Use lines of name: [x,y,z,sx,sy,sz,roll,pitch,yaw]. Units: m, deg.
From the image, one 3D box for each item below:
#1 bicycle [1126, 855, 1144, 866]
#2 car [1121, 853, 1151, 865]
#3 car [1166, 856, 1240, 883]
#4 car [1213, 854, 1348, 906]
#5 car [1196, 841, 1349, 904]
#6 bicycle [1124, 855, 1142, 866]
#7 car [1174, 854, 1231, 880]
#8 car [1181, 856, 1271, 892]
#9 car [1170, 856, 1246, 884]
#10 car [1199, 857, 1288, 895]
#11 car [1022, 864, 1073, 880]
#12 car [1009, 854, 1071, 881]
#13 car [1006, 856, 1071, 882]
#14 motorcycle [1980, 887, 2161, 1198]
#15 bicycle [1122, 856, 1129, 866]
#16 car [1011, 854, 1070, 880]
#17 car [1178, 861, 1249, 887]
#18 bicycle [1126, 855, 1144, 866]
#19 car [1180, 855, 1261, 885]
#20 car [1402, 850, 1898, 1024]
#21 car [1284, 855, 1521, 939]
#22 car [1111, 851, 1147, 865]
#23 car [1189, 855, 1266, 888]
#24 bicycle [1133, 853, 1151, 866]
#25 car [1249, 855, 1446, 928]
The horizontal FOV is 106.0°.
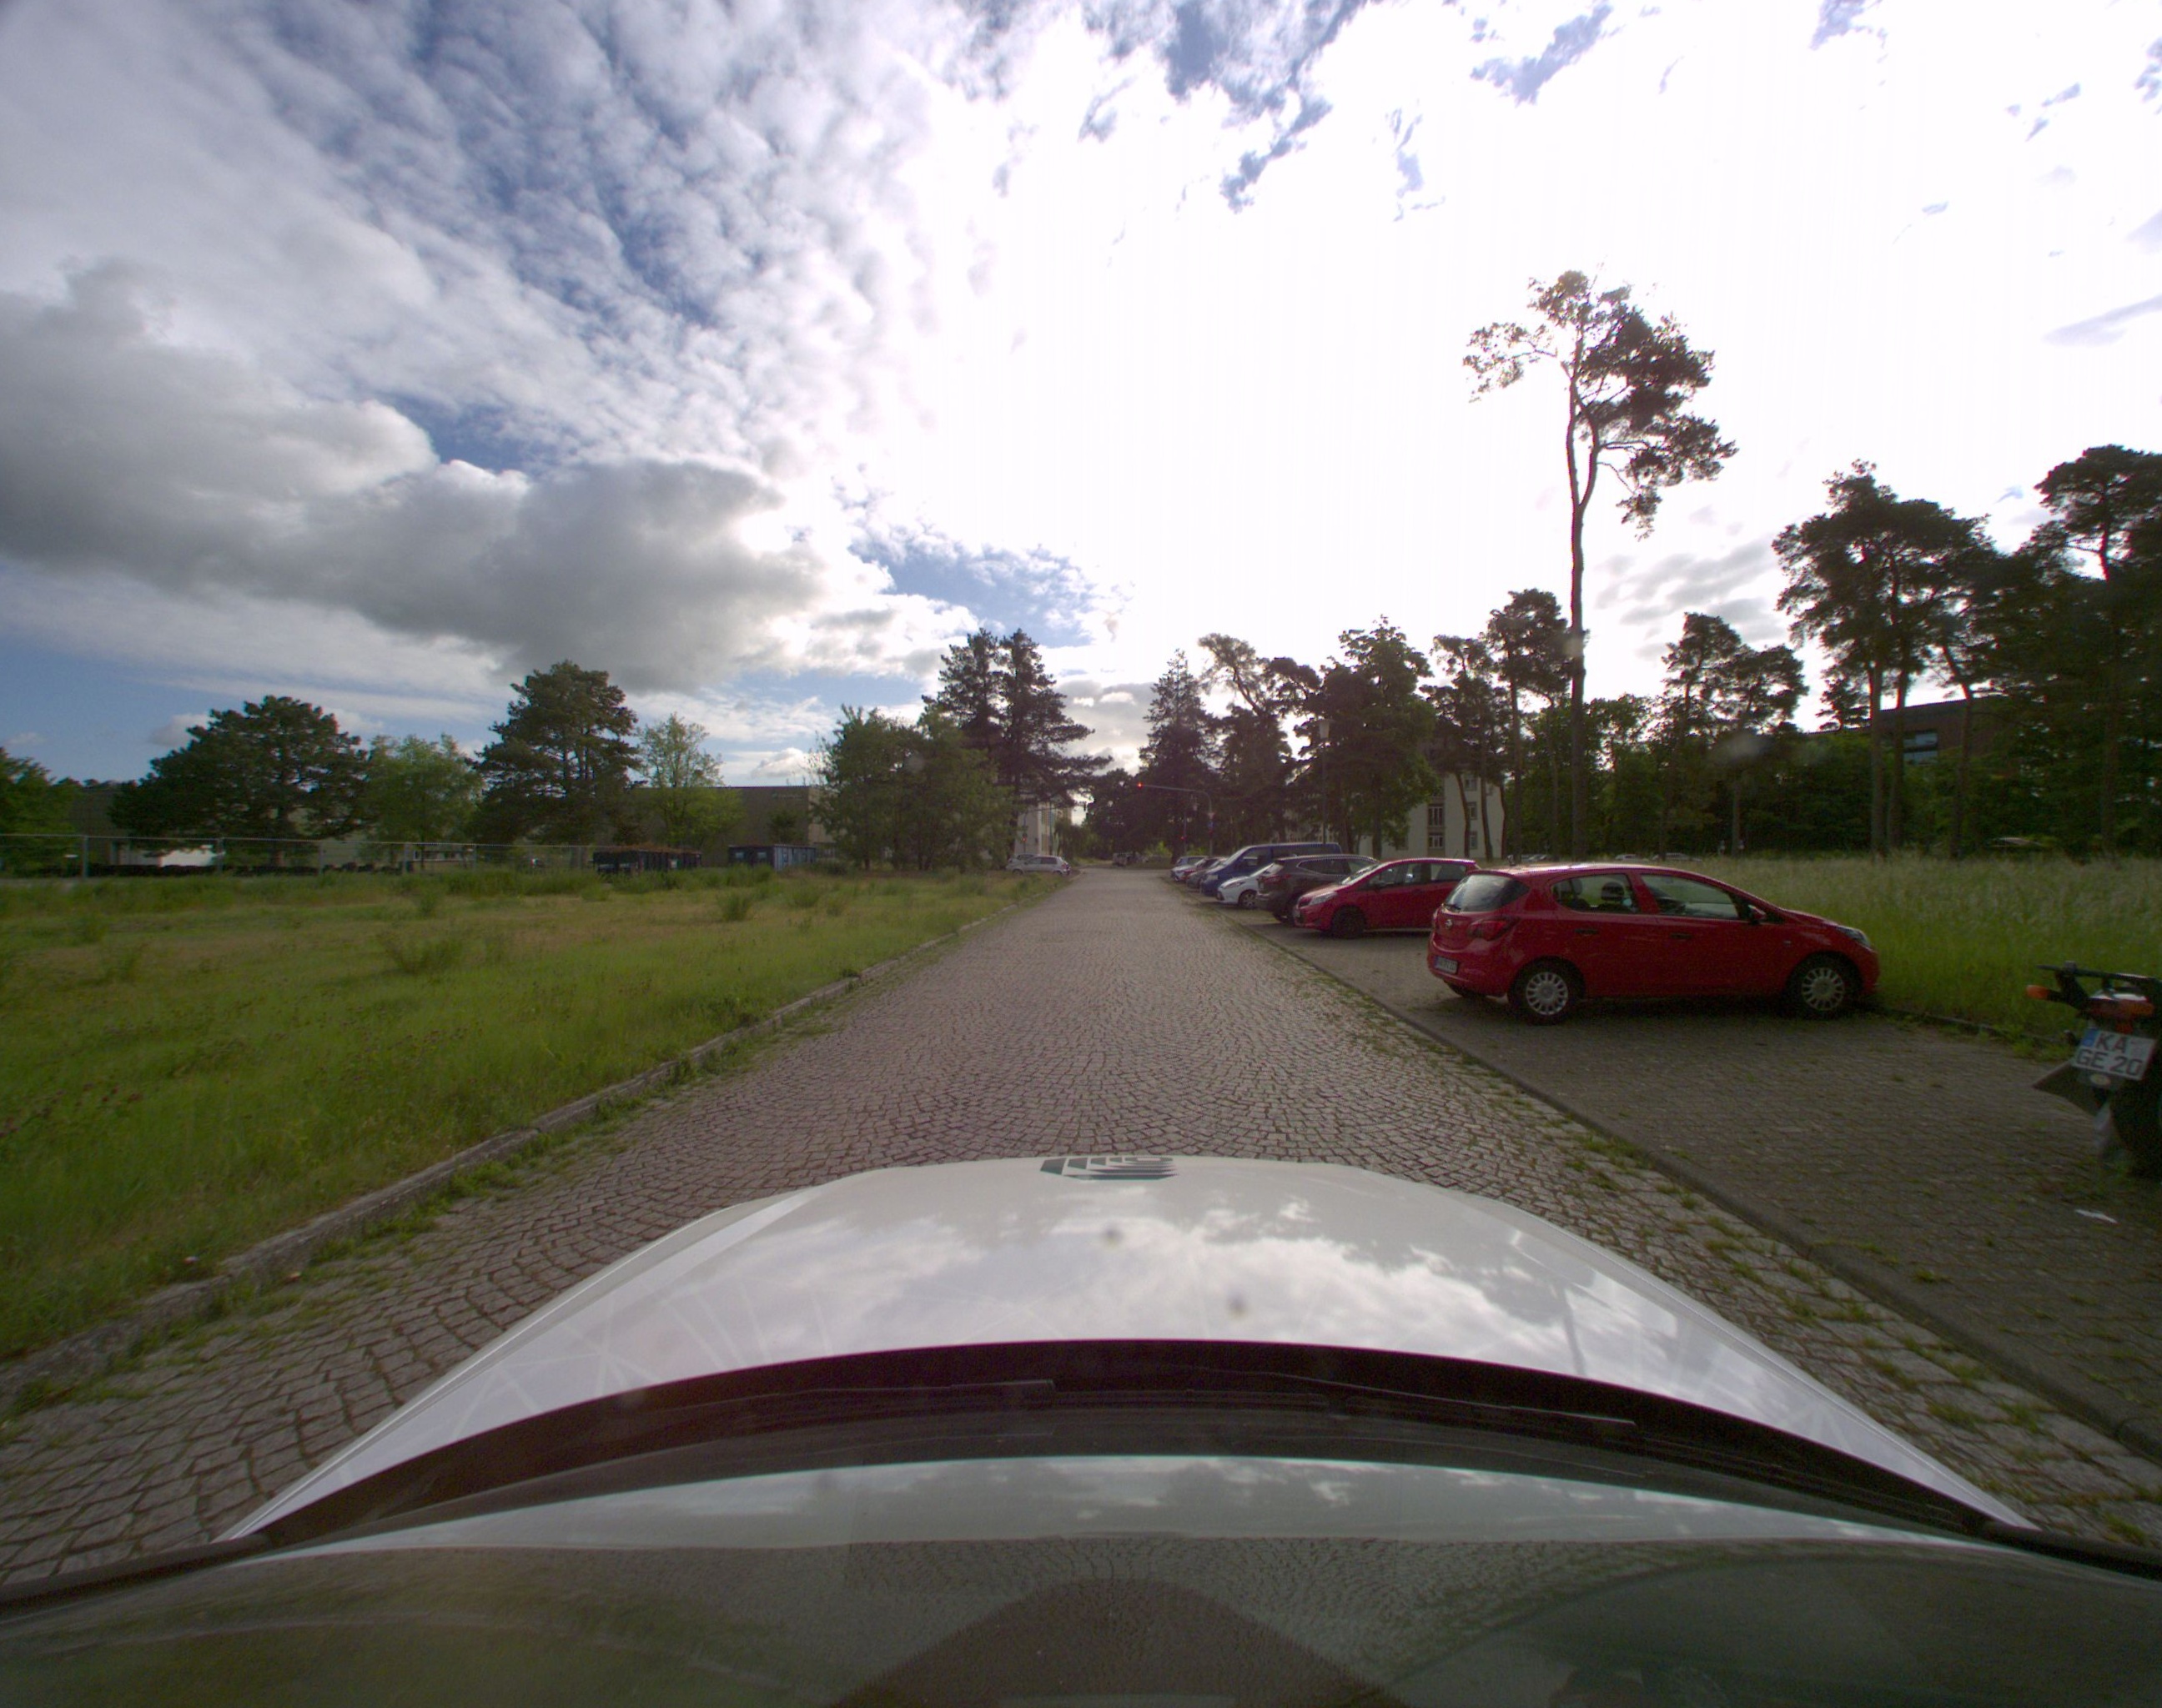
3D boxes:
bicycle: [6.702,0.800,100.898,2.156,1.268,0.811,0,0,-4]
car: [7.776,0.707,114.838,3.979,1.644,1.997,0,0,-4]
car: [7.272,0.908,48.675,4.113,1.543,1.662,0,0,-4]
car: [6.044,0.781,24.962,3.710,1.424,1.654,-2,0,0]
car: [6.359,0.593,27.412,4.766,2.040,1.738,0,0,0]
bicycle: [6.525,0.812,102.120,2.156,1.268,0.811,0,0,-4]
car: [7.623,0.817,51.235,3.381,1.543,1.389,0,0,-4]
car: [6.346,0.861,35.802,3.596,1.506,1.659,0,0,-8]
car: [7.113,0.892,45.860,3.978,1.543,1.662,0,0,-4]
car: [6.533,0.872,33.025,3.281,1.504,1.664,0,0,0]
car: [-2.414,1.266,58.580,3.663,1.094,1.644,0,0,-4]
car: [-2.684,0.866,53.286,3.979,1.706,1.997,0,0,-4]
car: [-2.640,0.899,50.794,3.979,1.552,1.997,0,0,-4]
motorcycle: [5.631,0.802,3.813,2.259,1.275,0.605,-1,0,-3]
bicycle: [5.246,0.828,96.598,0.806,1.268,1.975,0,0,4]
car: [-2.811,0.858,56.379,3.980,1.750,1.924,0,0,-5]
car: [6.709,0.987,41.389,3.285,1.267,1.662,0,0,-3]
bicycle: [6.677,0.793,100.311,2.156,1.268,0.811,0,0,-4]
car: [7.437,0.841,43.614,3.978,1.543,1.662,0,0,-4]
car: [5.516,0.754,8.286,3.825,1.505,1.738,-1,0,1]
car: [6.146,0.798,15.904,3.971,1.518,1.739,0,0,2]
car: [6.973,0.598,118.149,5.047,2.013,1.995,0,0,-8]
car: [6.944,0.820,38.756,3.290,1.504,1.659,0,0,-8]
bicycle: [7.664,0.649,101.575,2.156,1.616,0.811,0,0,-4]
car: [5.960,0.807,18.524,3.936,1.580,1.762,0,0,1]
